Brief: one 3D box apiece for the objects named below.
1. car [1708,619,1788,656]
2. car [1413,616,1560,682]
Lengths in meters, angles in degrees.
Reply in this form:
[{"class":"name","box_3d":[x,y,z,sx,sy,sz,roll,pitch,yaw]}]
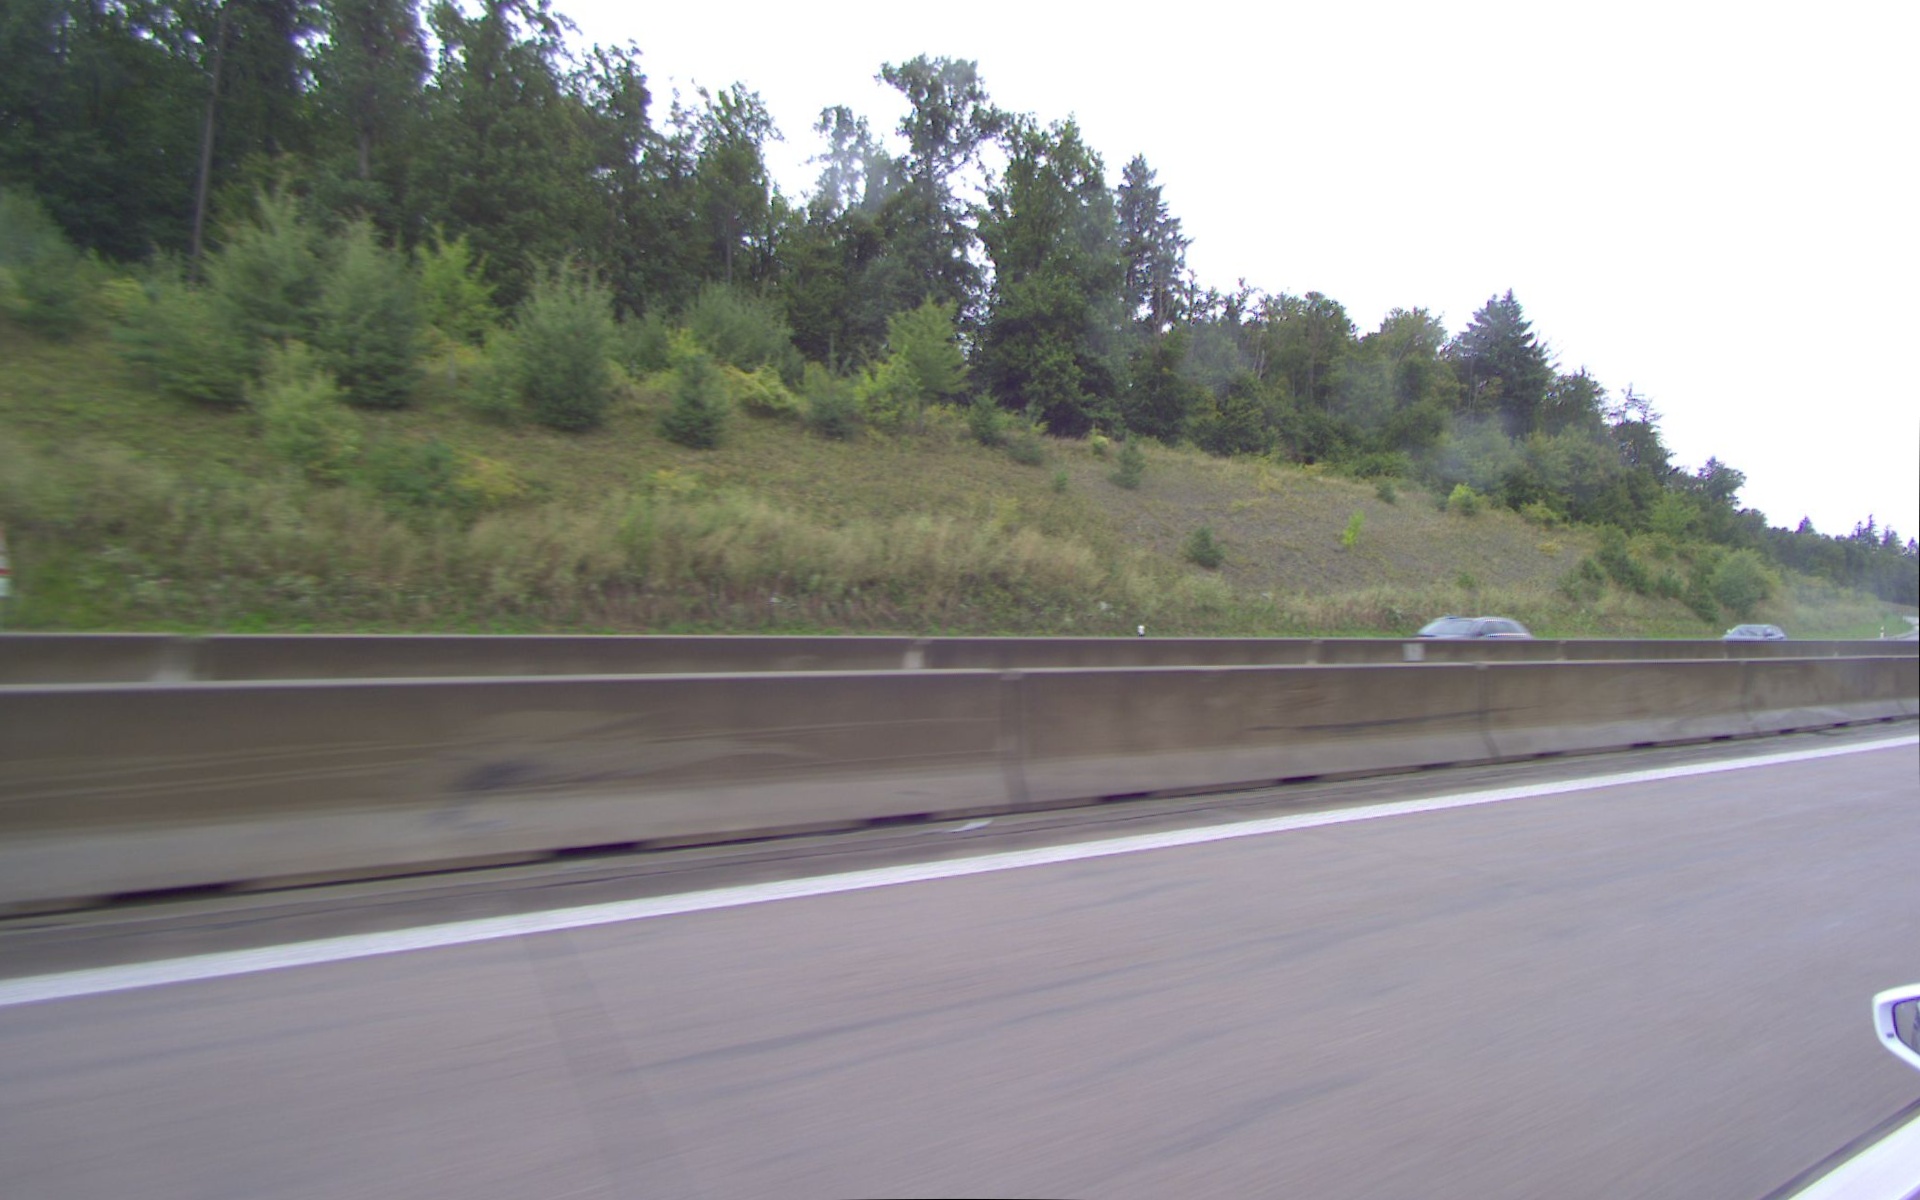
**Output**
[{"class":"car","box_3d":[37.995,1.809,48.424,4.207,1.660,1.767,2,-1,-33]},{"class":"car","box_3d":[14.272,1.296,27.203,3.955,1.660,1.767,2,-1,-32]}]
